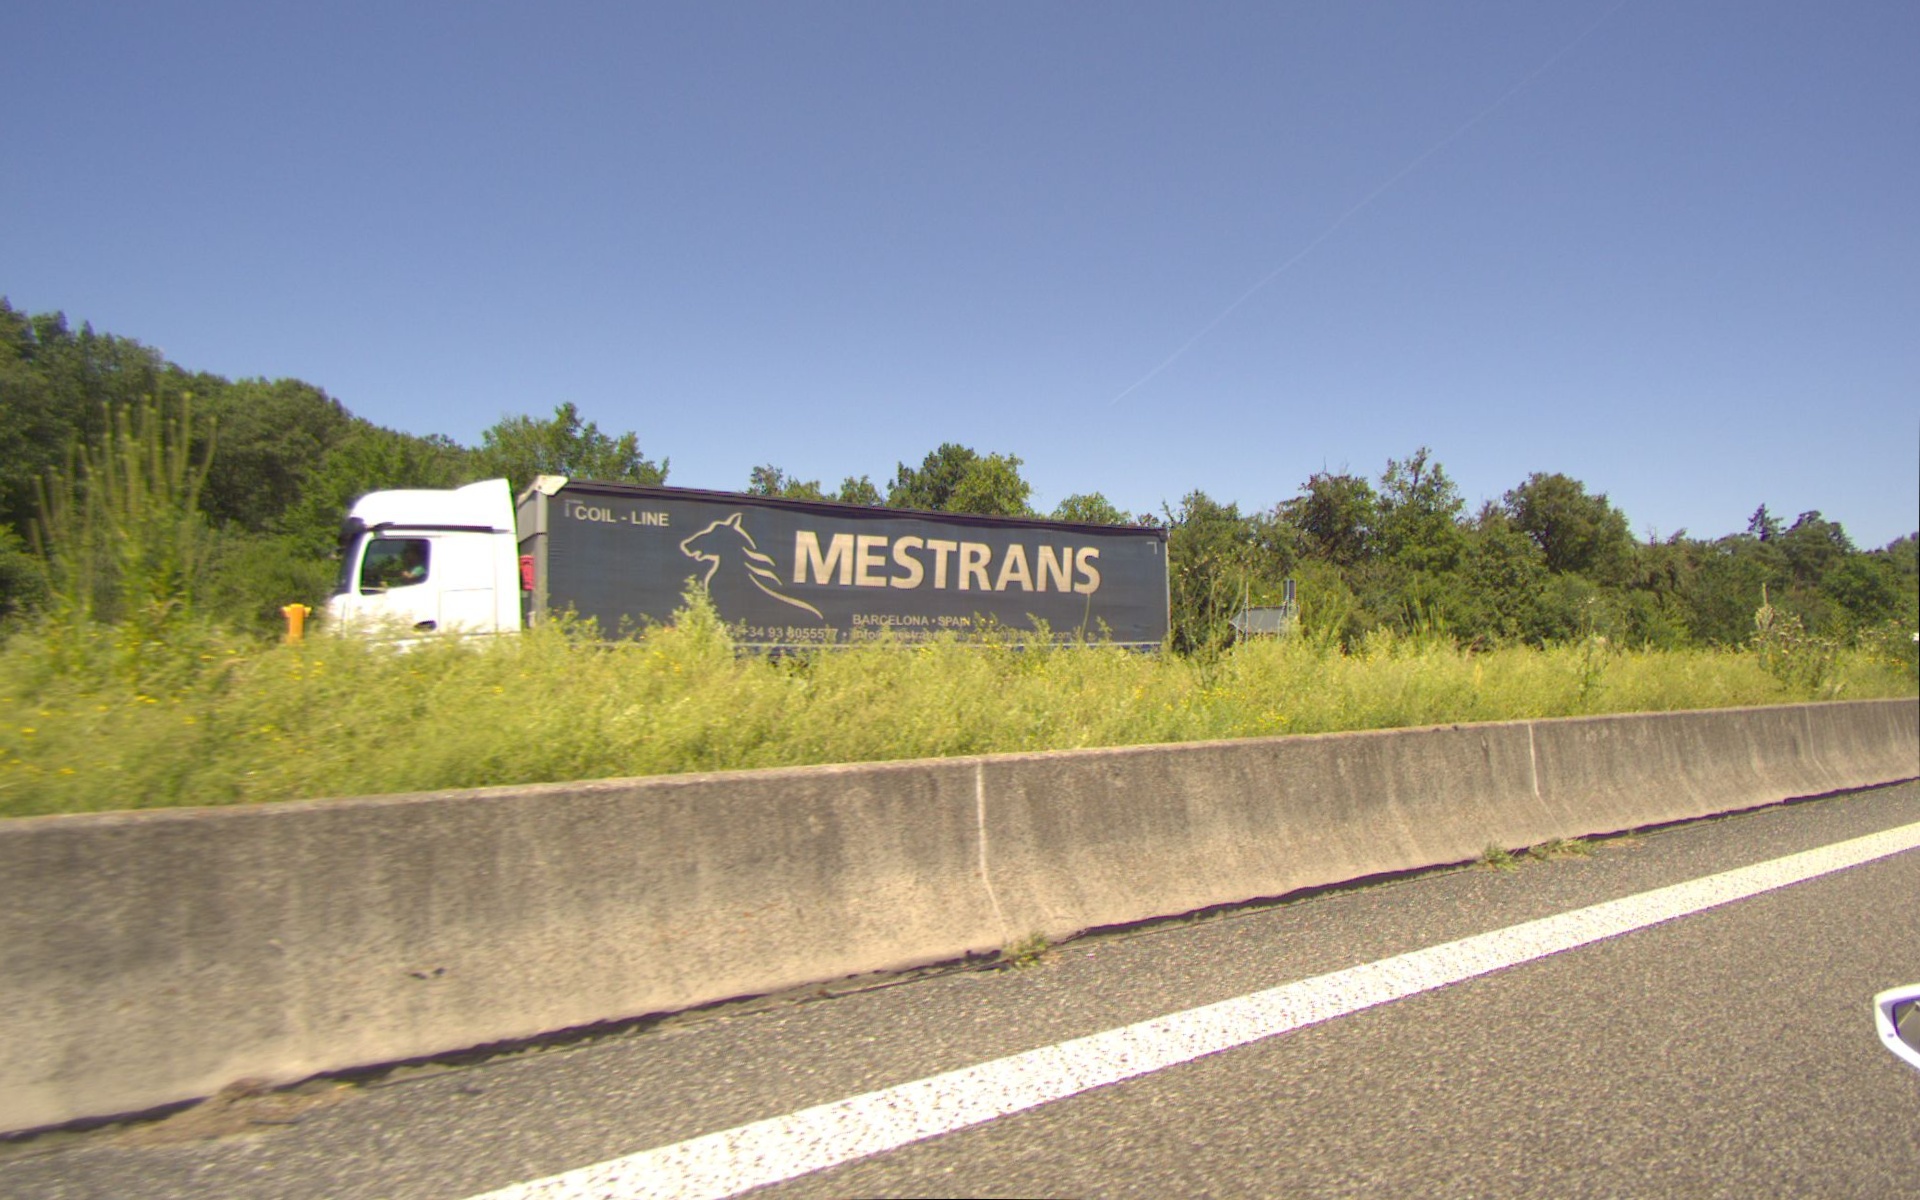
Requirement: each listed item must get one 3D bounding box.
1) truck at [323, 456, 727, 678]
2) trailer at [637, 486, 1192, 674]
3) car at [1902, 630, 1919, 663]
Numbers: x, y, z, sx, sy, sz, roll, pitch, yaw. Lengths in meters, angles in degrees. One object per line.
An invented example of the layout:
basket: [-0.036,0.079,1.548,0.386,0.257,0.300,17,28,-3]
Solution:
truck: [-7.144,-0.394,16.797,5.782,3.125,2.628,2,-1,-32]
trailer: [-0.393,-0.188,21.007,11.820,3.143,2.587,2,-1,-32]
car: [62.392,2.987,64.050,5.125,2.040,1.984,2,-1,-30]
